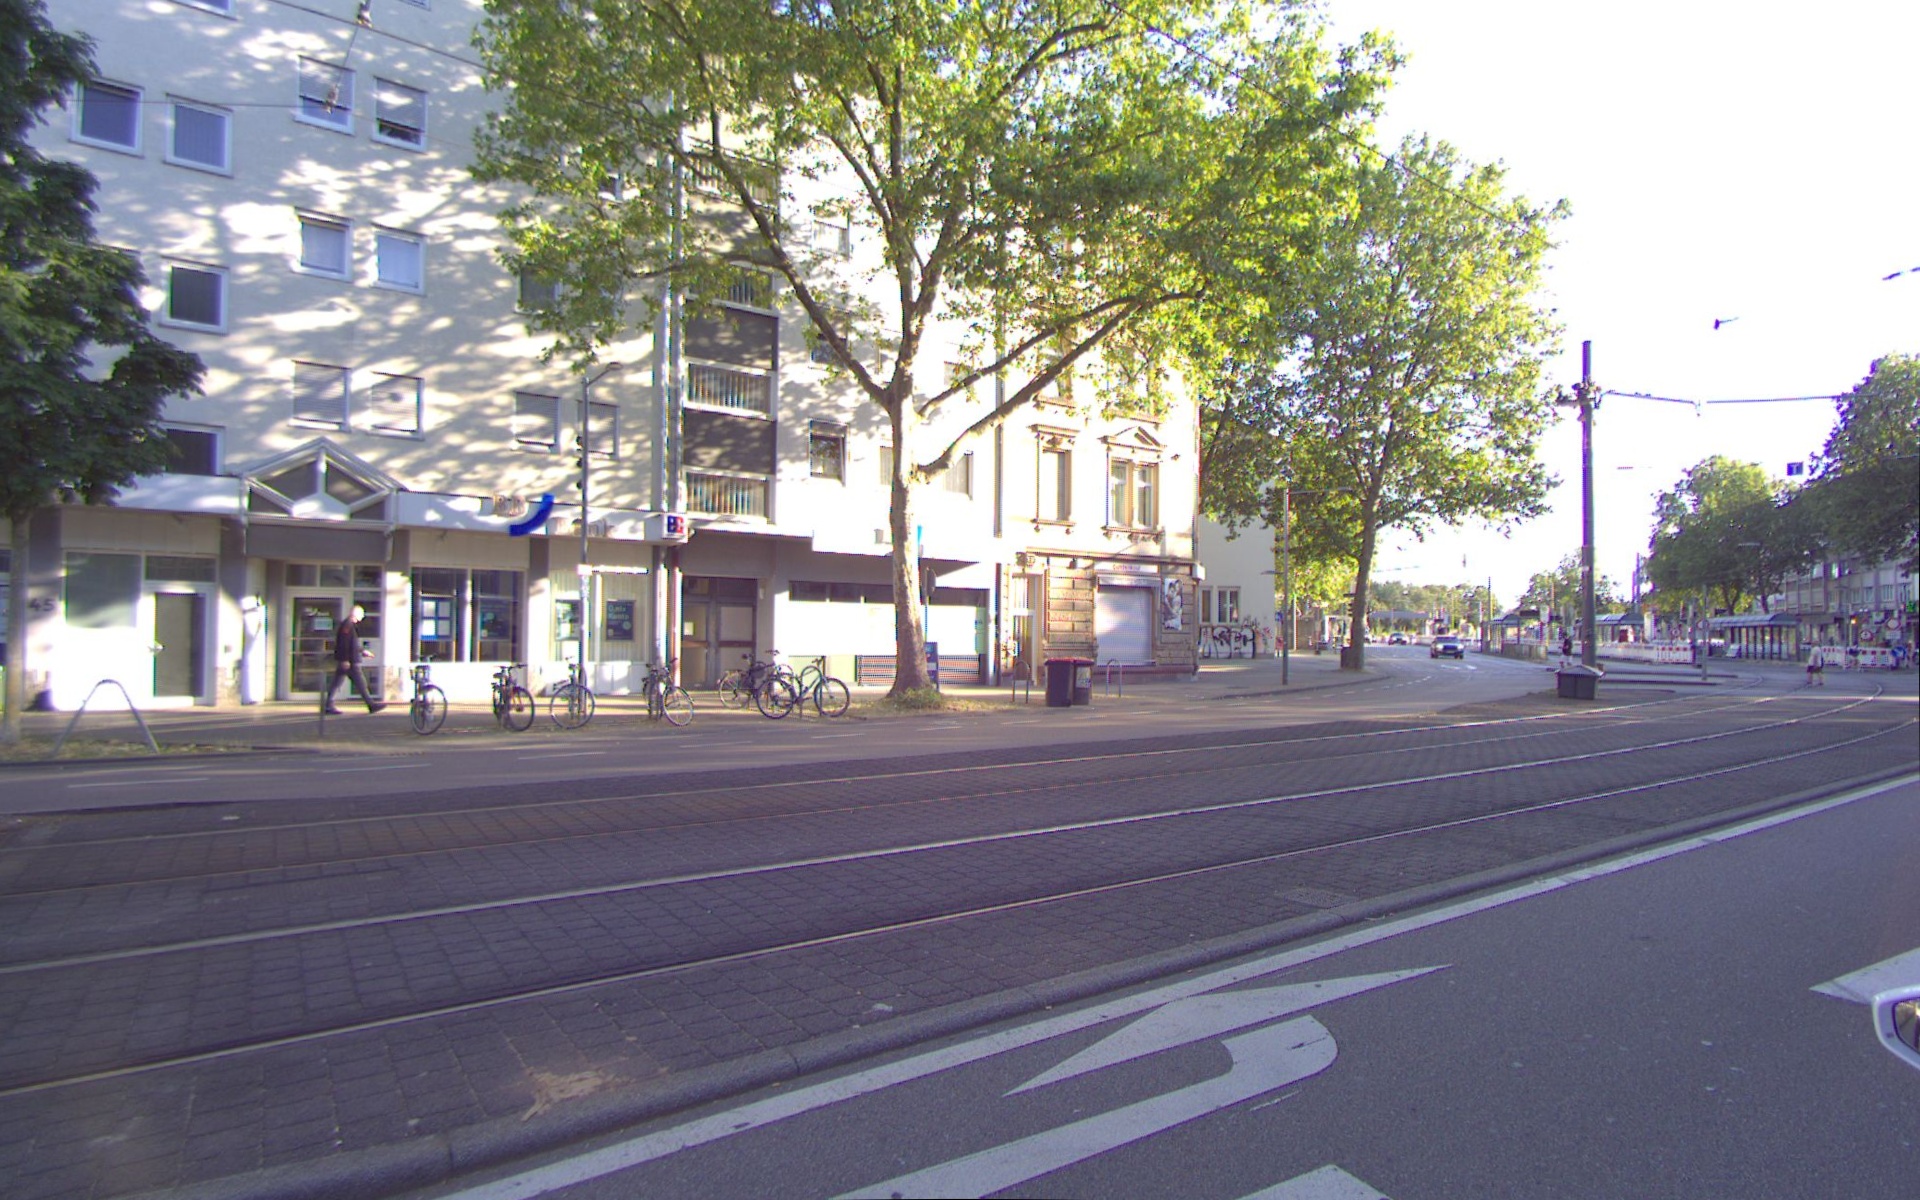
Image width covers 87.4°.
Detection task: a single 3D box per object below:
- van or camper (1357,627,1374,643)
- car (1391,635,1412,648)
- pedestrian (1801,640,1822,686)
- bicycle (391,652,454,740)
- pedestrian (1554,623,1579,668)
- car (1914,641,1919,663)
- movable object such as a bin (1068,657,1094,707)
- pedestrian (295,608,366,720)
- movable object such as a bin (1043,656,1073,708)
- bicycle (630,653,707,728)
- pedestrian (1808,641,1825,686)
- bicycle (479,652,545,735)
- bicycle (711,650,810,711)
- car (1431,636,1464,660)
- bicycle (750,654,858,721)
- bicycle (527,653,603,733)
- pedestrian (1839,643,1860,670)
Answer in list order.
[{"bbox_3d":[59.536,5.106,147.401,2.133,2.349,5.100,0,-2,25],"label":"van or camper"},{"bbox_3d":[58.396,5.487,133.011,1.854,1.606,4.210,0,-2,14],"label":"car"},{"bbox_3d":[28.885,2.120,34.079,0.513,1.524,0.591,-1,-2,37],"label":"pedestrian"},{"bbox_3d":[-7.975,1.381,14.869,0.529,1.139,1.880,2,-1,-36],"label":"bicycle"},{"bbox_3d":[24.277,1.819,40.217,0.663,1.733,0.431,2,0,2],"label":"pedestrian"},{"bbox_3d":[64.515,3.402,65.865,1.635,1.488,3.412,-3,-3,22],"label":"car"},{"bbox_3d":[2.740,1.851,22.849,0.562,1.108,0.477,0,-2,5],"label":"movable object such as a bin"},{"bbox_3d":[-10.587,1.062,16.923,0.959,1.811,0.615,2,0,-31],"label":"pedestrian"},{"bbox_3d":[2.163,1.810,22.232,0.634,1.108,0.546,0,-2,5],"label":"movable object such as a bin"},{"bbox_3d":[-4.986,1.504,17.110,0.646,1.139,1.880,2,-1,-36],"label":"bicycle"},{"bbox_3d":[29.421,2.182,34.515,0.403,1.524,0.515,0,-2,37],"label":"pedestrian"},{"bbox_3d":[-6.983,1.422,15.617,0.529,1.139,1.880,2,-1,-36],"label":"bicycle"},{"bbox_3d":[-3.962,1.580,20.027,1.891,1.139,0.505,2,-1,-34],"label":"bicycle"},{"bbox_3d":[32.863,3.203,67.802,1.856,1.492,4.205,0,-2,24],"label":"car"},{"bbox_3d":[-2.814,1.570,18.231,1.891,1.139,0.505,2,-1,-34],"label":"bicycle"},{"bbox_3d":[-6.344,1.452,16.090,0.646,1.139,1.880,2,-1,-36],"label":"bicycle"},{"bbox_3d":[45.599,2.897,51.501,0.768,1.321,0.591,-1,-2,40],"label":"pedestrian"}]
